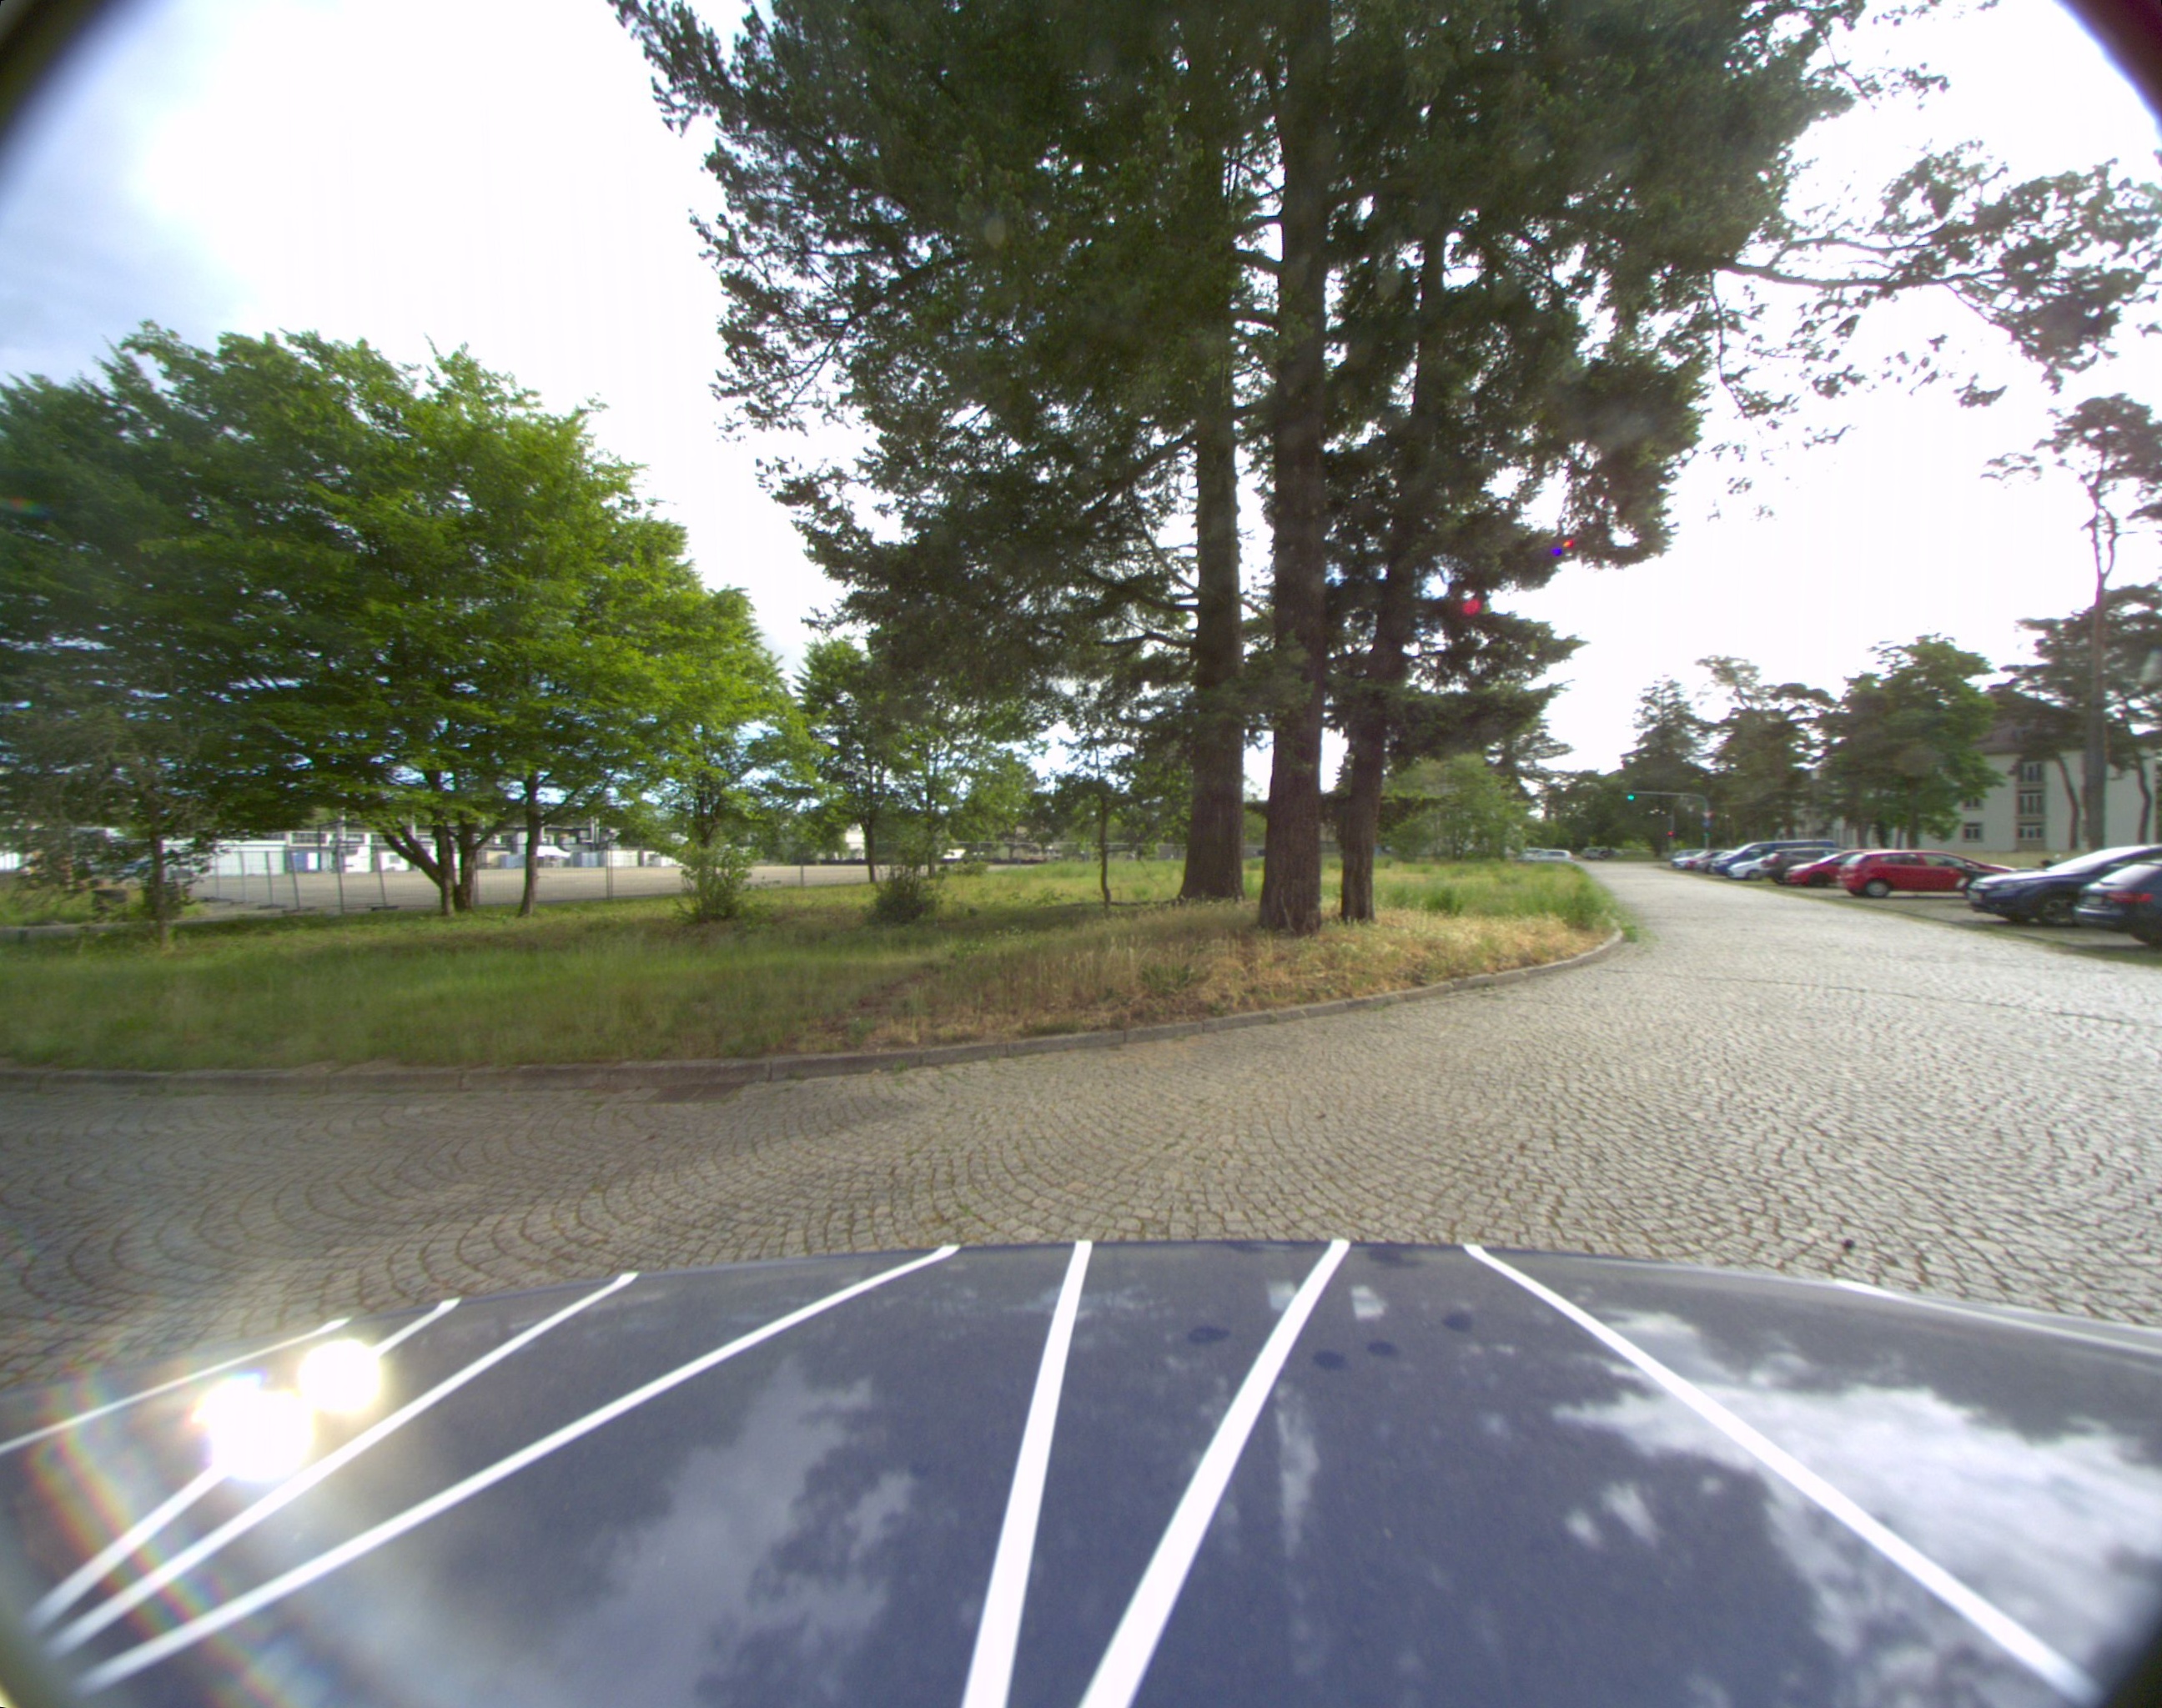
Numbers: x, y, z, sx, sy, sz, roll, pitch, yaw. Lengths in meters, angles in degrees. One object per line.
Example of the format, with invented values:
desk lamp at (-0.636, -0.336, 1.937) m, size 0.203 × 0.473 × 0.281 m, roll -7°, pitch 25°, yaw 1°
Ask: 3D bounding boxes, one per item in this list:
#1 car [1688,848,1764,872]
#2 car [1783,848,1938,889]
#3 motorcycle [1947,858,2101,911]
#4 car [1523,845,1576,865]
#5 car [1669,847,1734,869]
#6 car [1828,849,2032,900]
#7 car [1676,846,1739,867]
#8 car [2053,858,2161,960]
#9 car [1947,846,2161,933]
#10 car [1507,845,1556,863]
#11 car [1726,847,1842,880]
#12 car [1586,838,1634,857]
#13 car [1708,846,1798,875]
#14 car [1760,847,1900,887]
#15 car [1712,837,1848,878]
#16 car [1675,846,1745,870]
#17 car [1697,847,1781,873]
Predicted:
car at (43.848, 0.424, 51.754) m, size 3.565 × 1.408 × 1.641 m, roll -4°, pitch 0°, yaw 25°
car at (30.447, 0.573, 29.853) m, size 3.943 × 1.511 × 1.711 m, roll -1°, pitch 0°, yaw 33°
motorcycle at (24.151, 0.756, 19.532) m, size 2.357 × 1.280 × 0.745 m, roll -1°, pitch 0°, yaw 33°
car at (39.836, 0.089, 64.727) m, size 3.722 × 1.429 × 1.629 m, roll -3°, pitch 0°, yaw 29°
car at (47.357, 0.292, 58.042) m, size 3.564 × 1.449 × 1.629 m, roll -4°, pitch 0°, yaw 30°
car at (26.077, 0.620, 23.535) m, size 3.886 × 1.470 × 1.675 m, roll -2°, pitch 0°, yaw 32°
car at (49.303, 0.200, 59.853) m, size 3.447 × 1.423 × 1.631 m, roll -4°, pitch 0°, yaw 23°
car at (17.799, 0.790, 10.914) m, size 4.433 × 1.471 × 1.685 m, roll -1°, pitch 0°, yaw 36°
car at (20.406, 0.658, 14.923) m, size 4.140 × 1.564 × 1.793 m, roll -1°, pitch 1°, yaw 31°
car at (41.540, 0.022, 70.095) m, size 3.723 × 1.429 × 1.629 m, roll -3°, pitch 0°, yaw 25°
car at (34.840, 0.487, 37.800) m, size 3.923 × 1.384 × 1.746 m, roll -4°, pitch 0°, yaw 31°
car at (82.438, -1.069, 118.469) m, size 5.785 × 2.547 × 2.774 m, roll -4°, pitch 0°, yaw 27°
car at (39.400, 0.376, 44.661) m, size 3.592 × 1.445 × 1.690 m, roll -4°, pitch 0°, yaw 25°
car at (31.650, 0.515, 32.283) m, size 3.908 × 1.594 × 1.824 m, roll 0°, pitch 1°, yaw 30°
car at (36.482, 0.183, 39.875) m, size 4.824 × 1.855 × 2.165 m, roll -4°, pitch 0°, yaw 31°
car at (45.954, 0.291, 55.604) m, size 3.565 × 1.478 × 1.605 m, roll -4°, pitch 0°, yaw 25°
car at (40.551, 0.385, 46.927) m, size 3.592 × 1.412 × 1.621 m, roll -3°, pitch 0°, yaw 25°
